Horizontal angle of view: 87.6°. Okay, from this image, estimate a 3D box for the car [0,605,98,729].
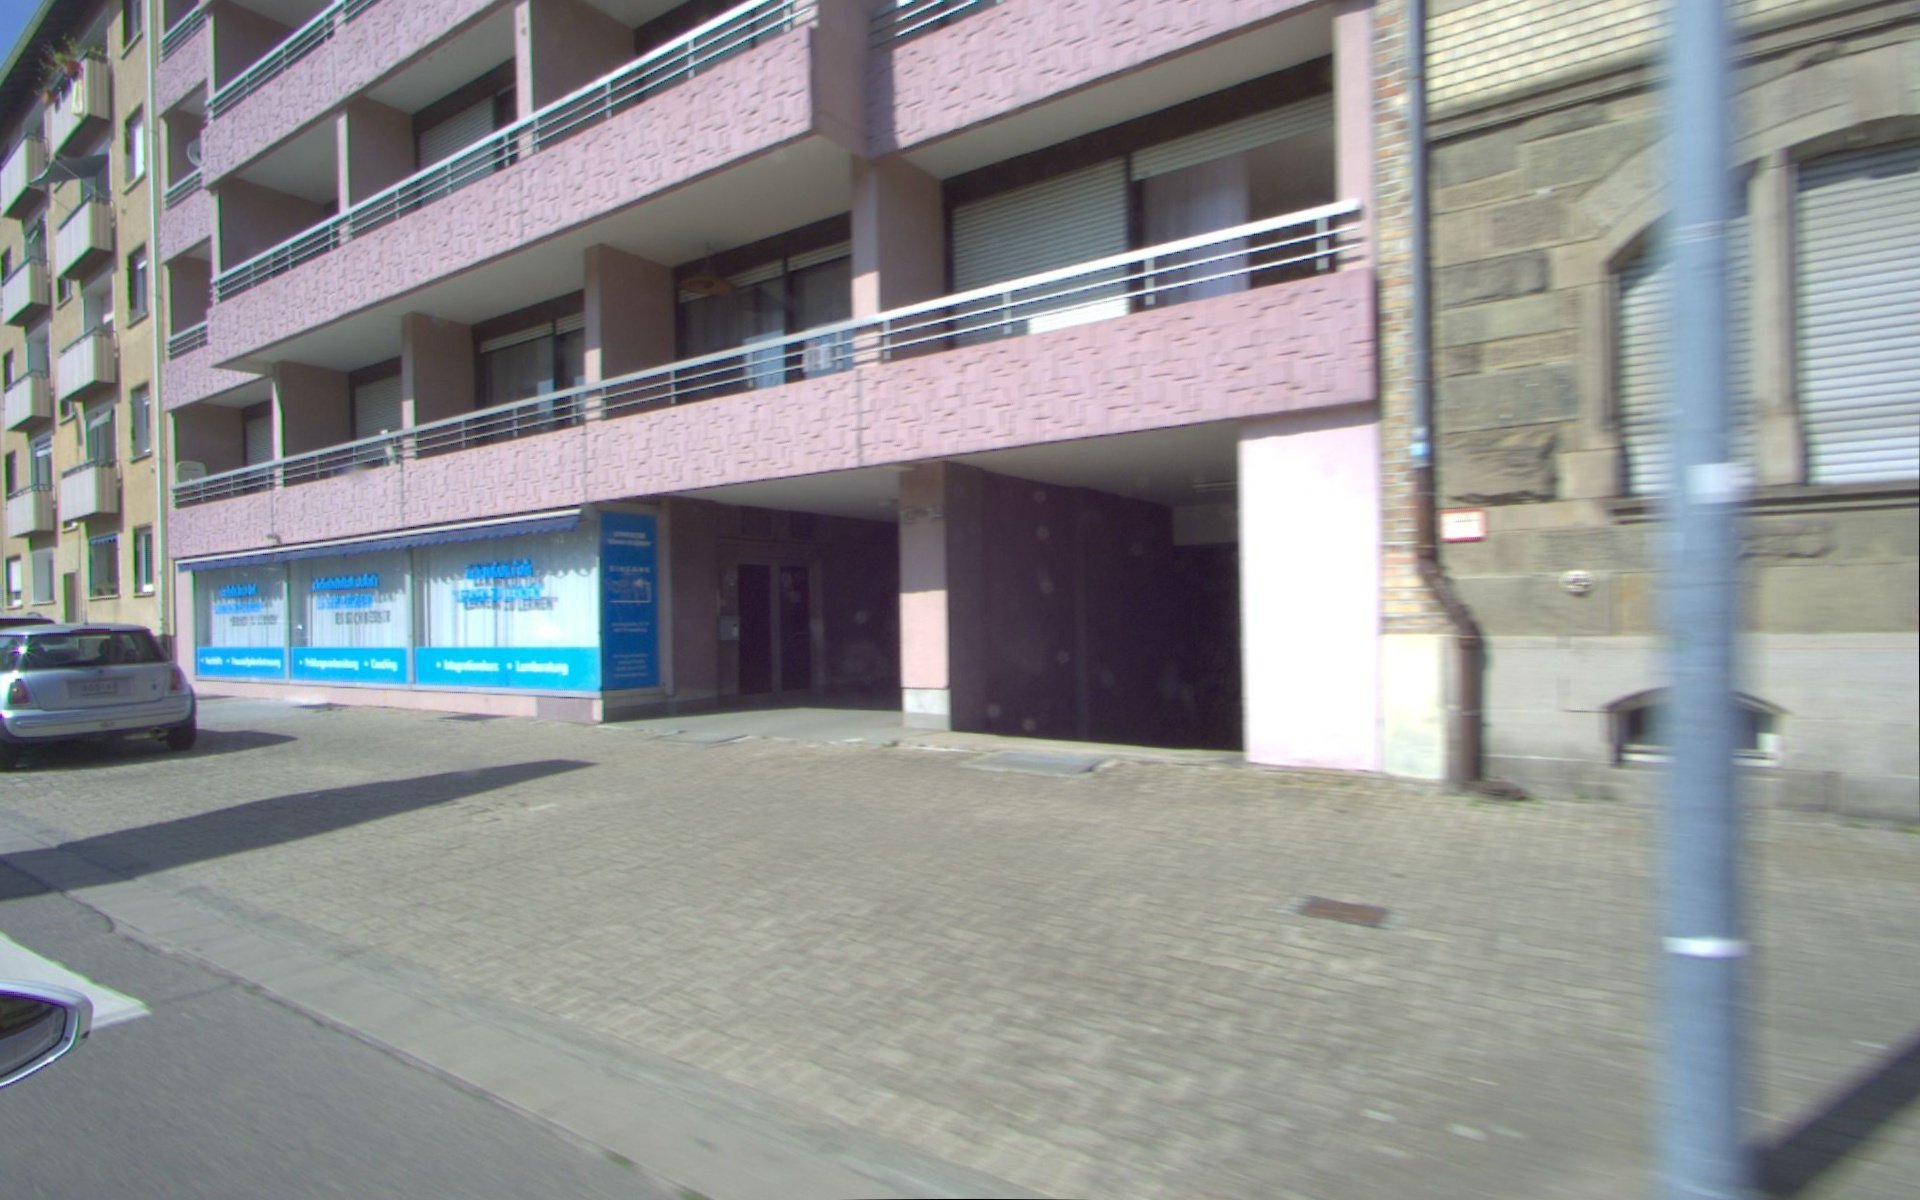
[{"bbox_3d":[-13.808,0.899,14.042,4.298,1.561,1.730,-1,0,37],"label":"car"}]

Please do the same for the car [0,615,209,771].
[{"bbox_3d":[-10.044,0.927,11.274,3.387,1.428,1.671,-1,1,38],"label":"car"}]
